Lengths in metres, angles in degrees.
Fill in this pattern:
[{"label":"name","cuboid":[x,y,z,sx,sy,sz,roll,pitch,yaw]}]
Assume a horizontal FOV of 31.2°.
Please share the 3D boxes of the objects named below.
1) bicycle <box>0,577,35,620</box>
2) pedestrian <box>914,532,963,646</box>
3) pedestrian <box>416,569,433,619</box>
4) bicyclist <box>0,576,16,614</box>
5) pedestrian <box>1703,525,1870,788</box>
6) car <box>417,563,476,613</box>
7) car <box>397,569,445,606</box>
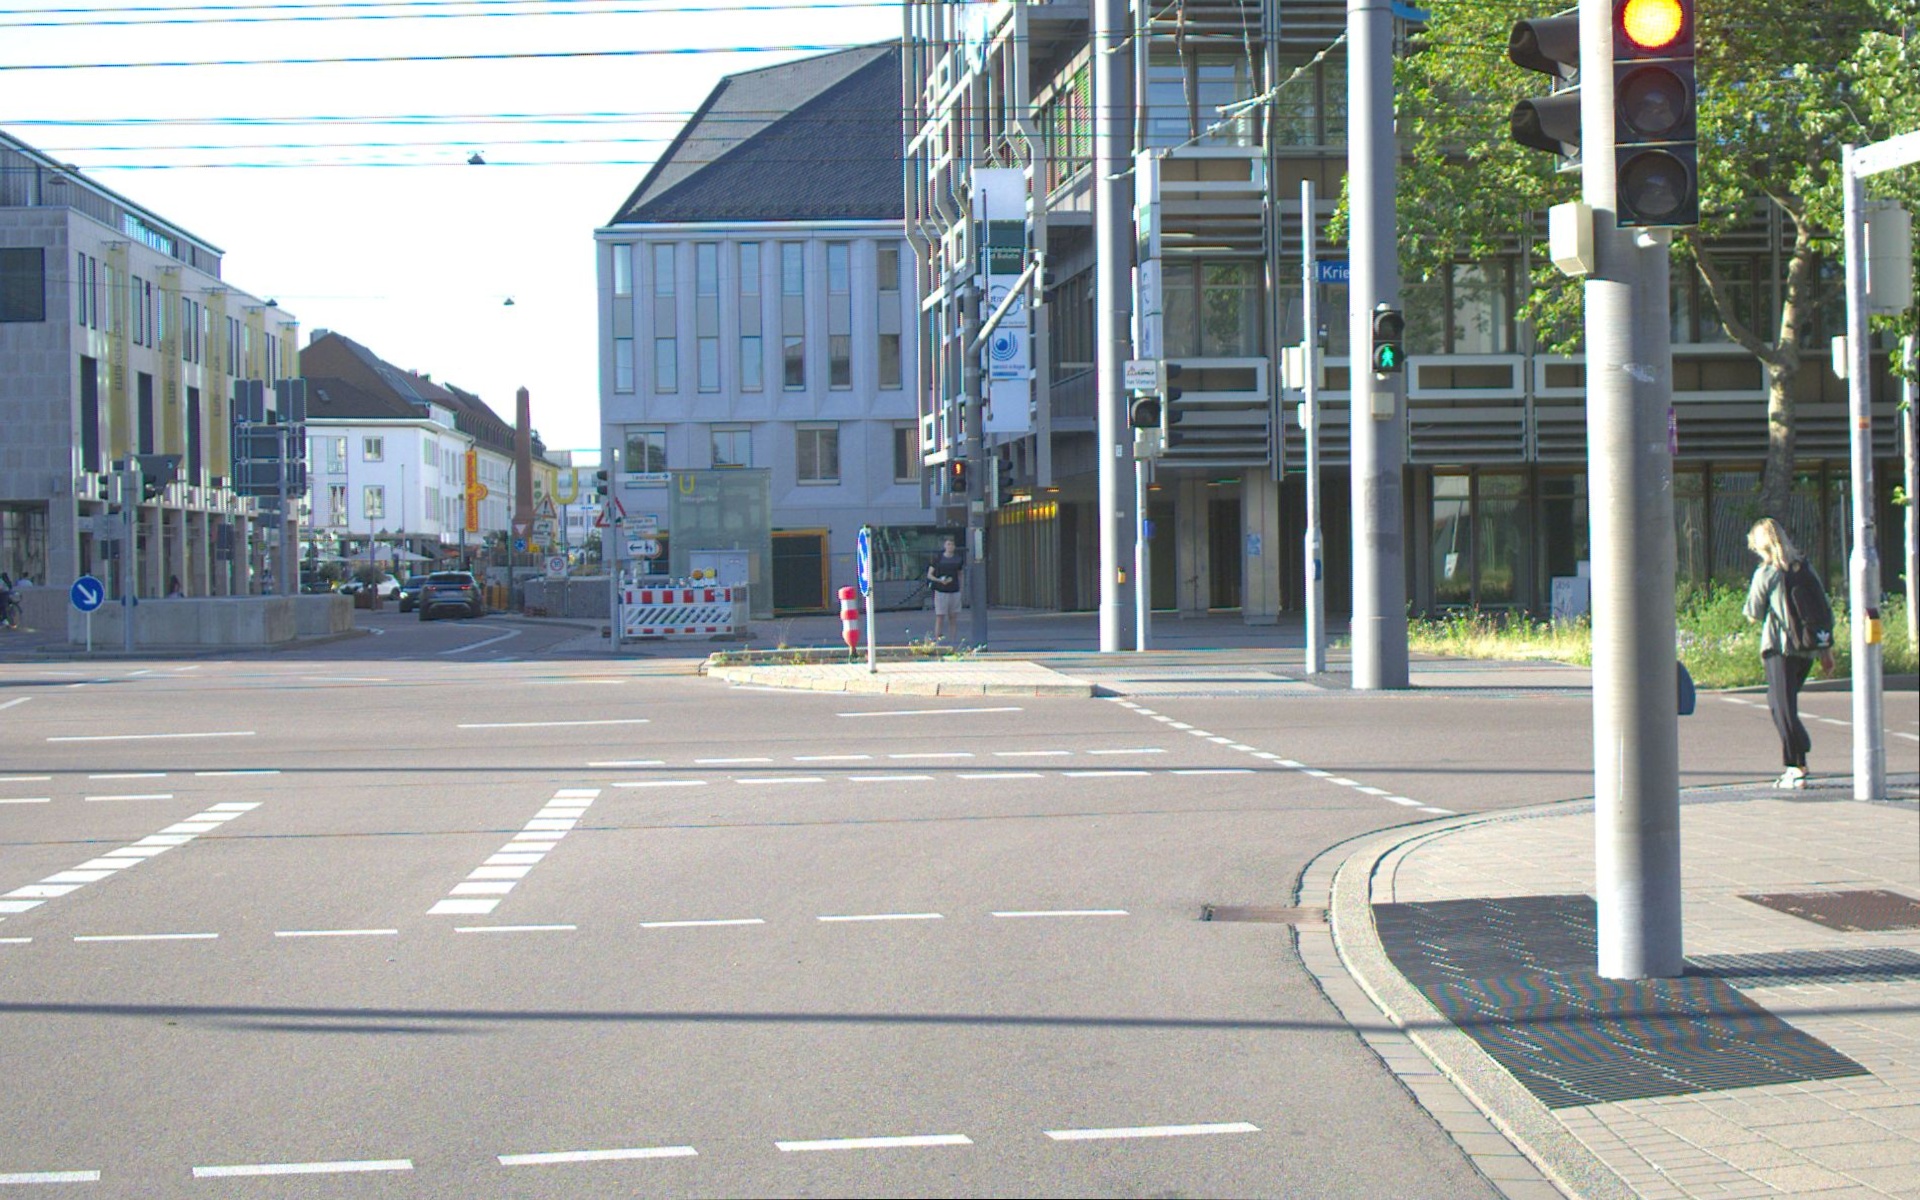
[{"label":"bicycle","cuboid":[-27.309,-0.038,98.398,0.511,1.202,1.808,1,1,29]},{"label":"pedestrian","cuboid":[-0.368,-0.186,57.314,0.788,1.883,0.644,1,0,-1]},{"label":"pedestrian","cuboid":[-18.222,-0.208,116.949,0.521,1.674,0.583,1,1,-7]},{"label":"bicyclist","cuboid":[-27.389,-0.151,98.221,0.511,1.080,0.624,1,1,29]},{"label":"pedestrian","cuboid":[4.779,0.318,19.914,0.788,1.487,0.644,1,0,-1]},{"label":"car","cuboid":[-16.145,-0.389,108.208,1.737,1.525,3.856,1,1,-7]},{"label":"car","cuboid":[-24.690,-0.573,157.573,1.797,1.652,4.001,1,1,-4]}]
